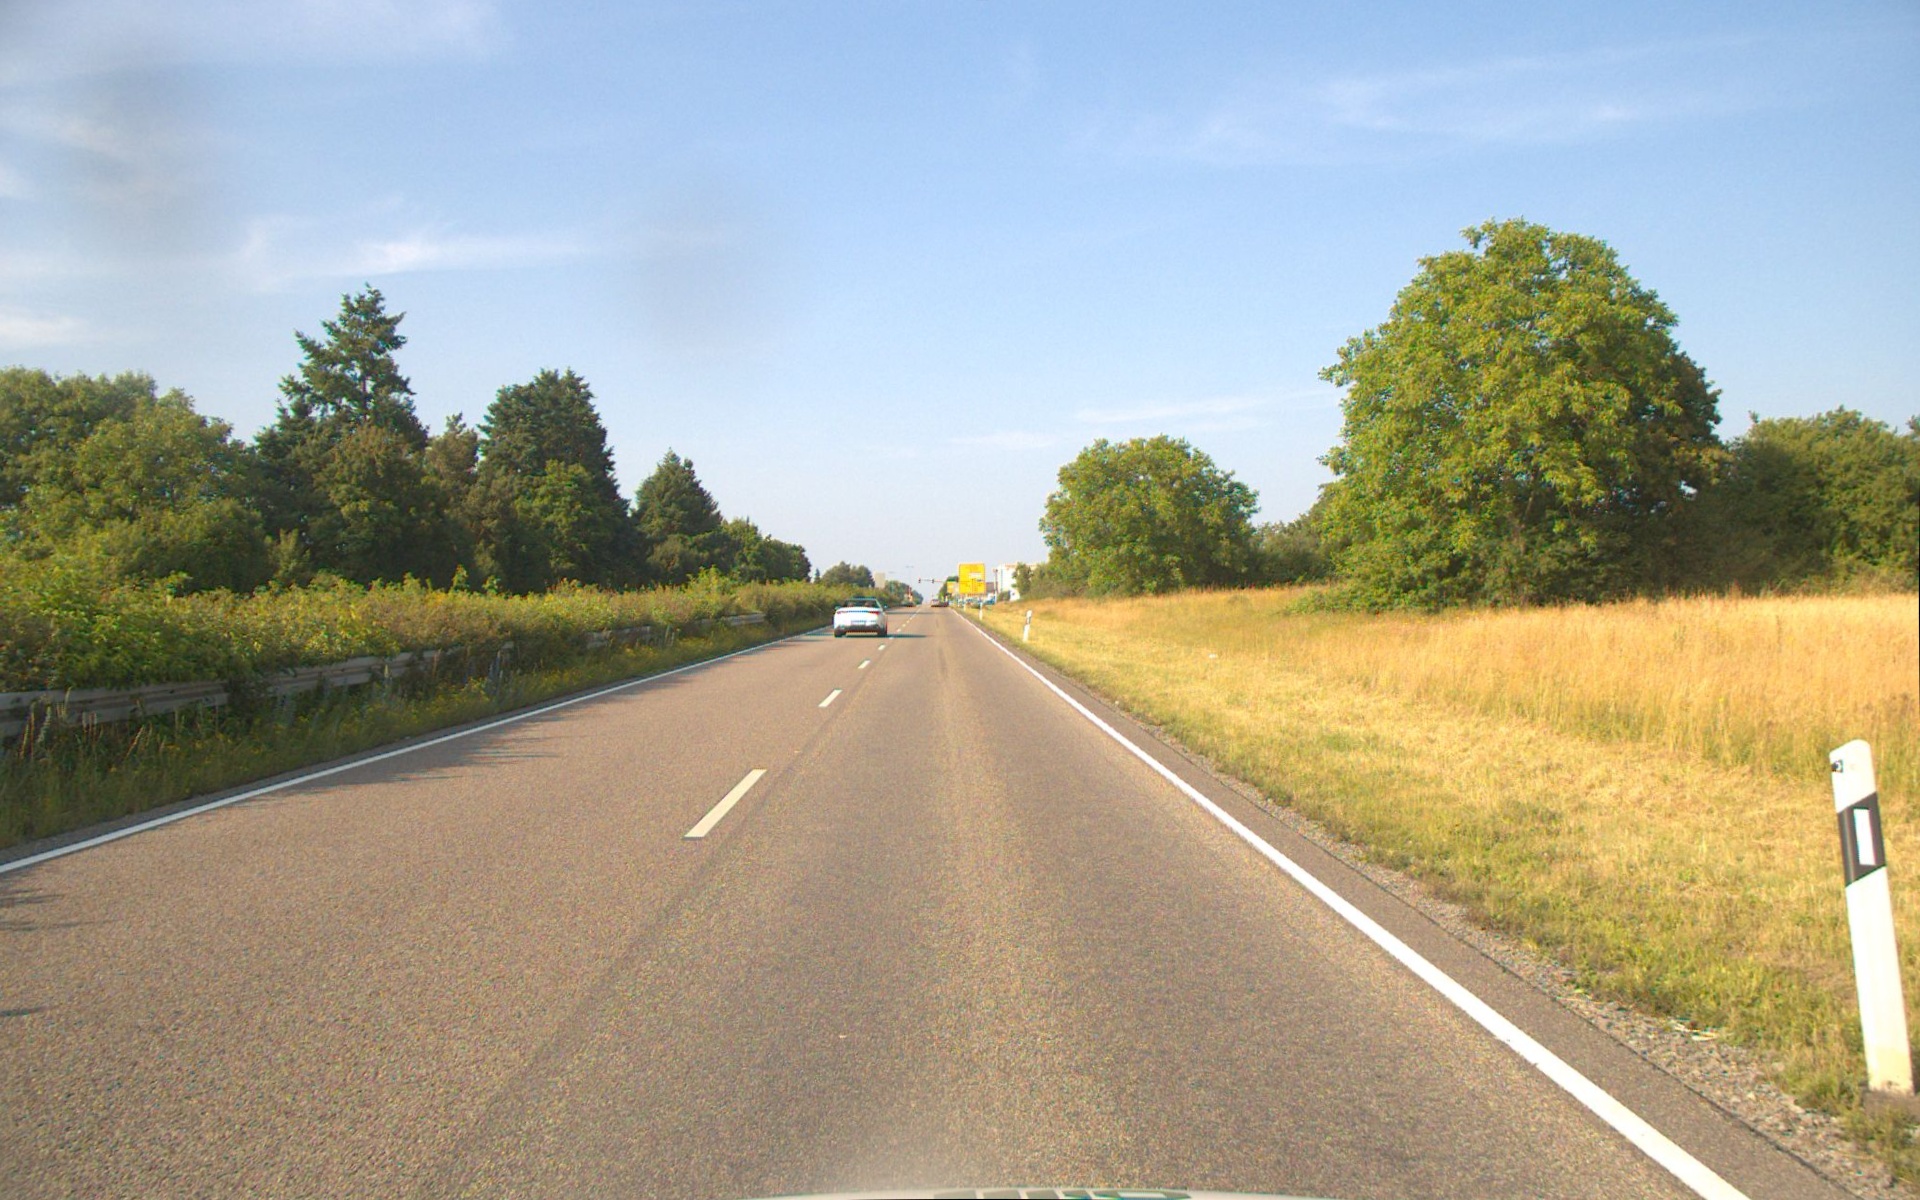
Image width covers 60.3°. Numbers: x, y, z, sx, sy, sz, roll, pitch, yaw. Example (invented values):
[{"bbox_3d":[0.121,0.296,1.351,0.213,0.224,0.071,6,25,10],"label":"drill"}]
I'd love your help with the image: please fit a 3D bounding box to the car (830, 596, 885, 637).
[{"bbox_3d":[-3.709,0.593,60.573,1.871,1.447,3.999,0,0,-2],"label":"car"}]
